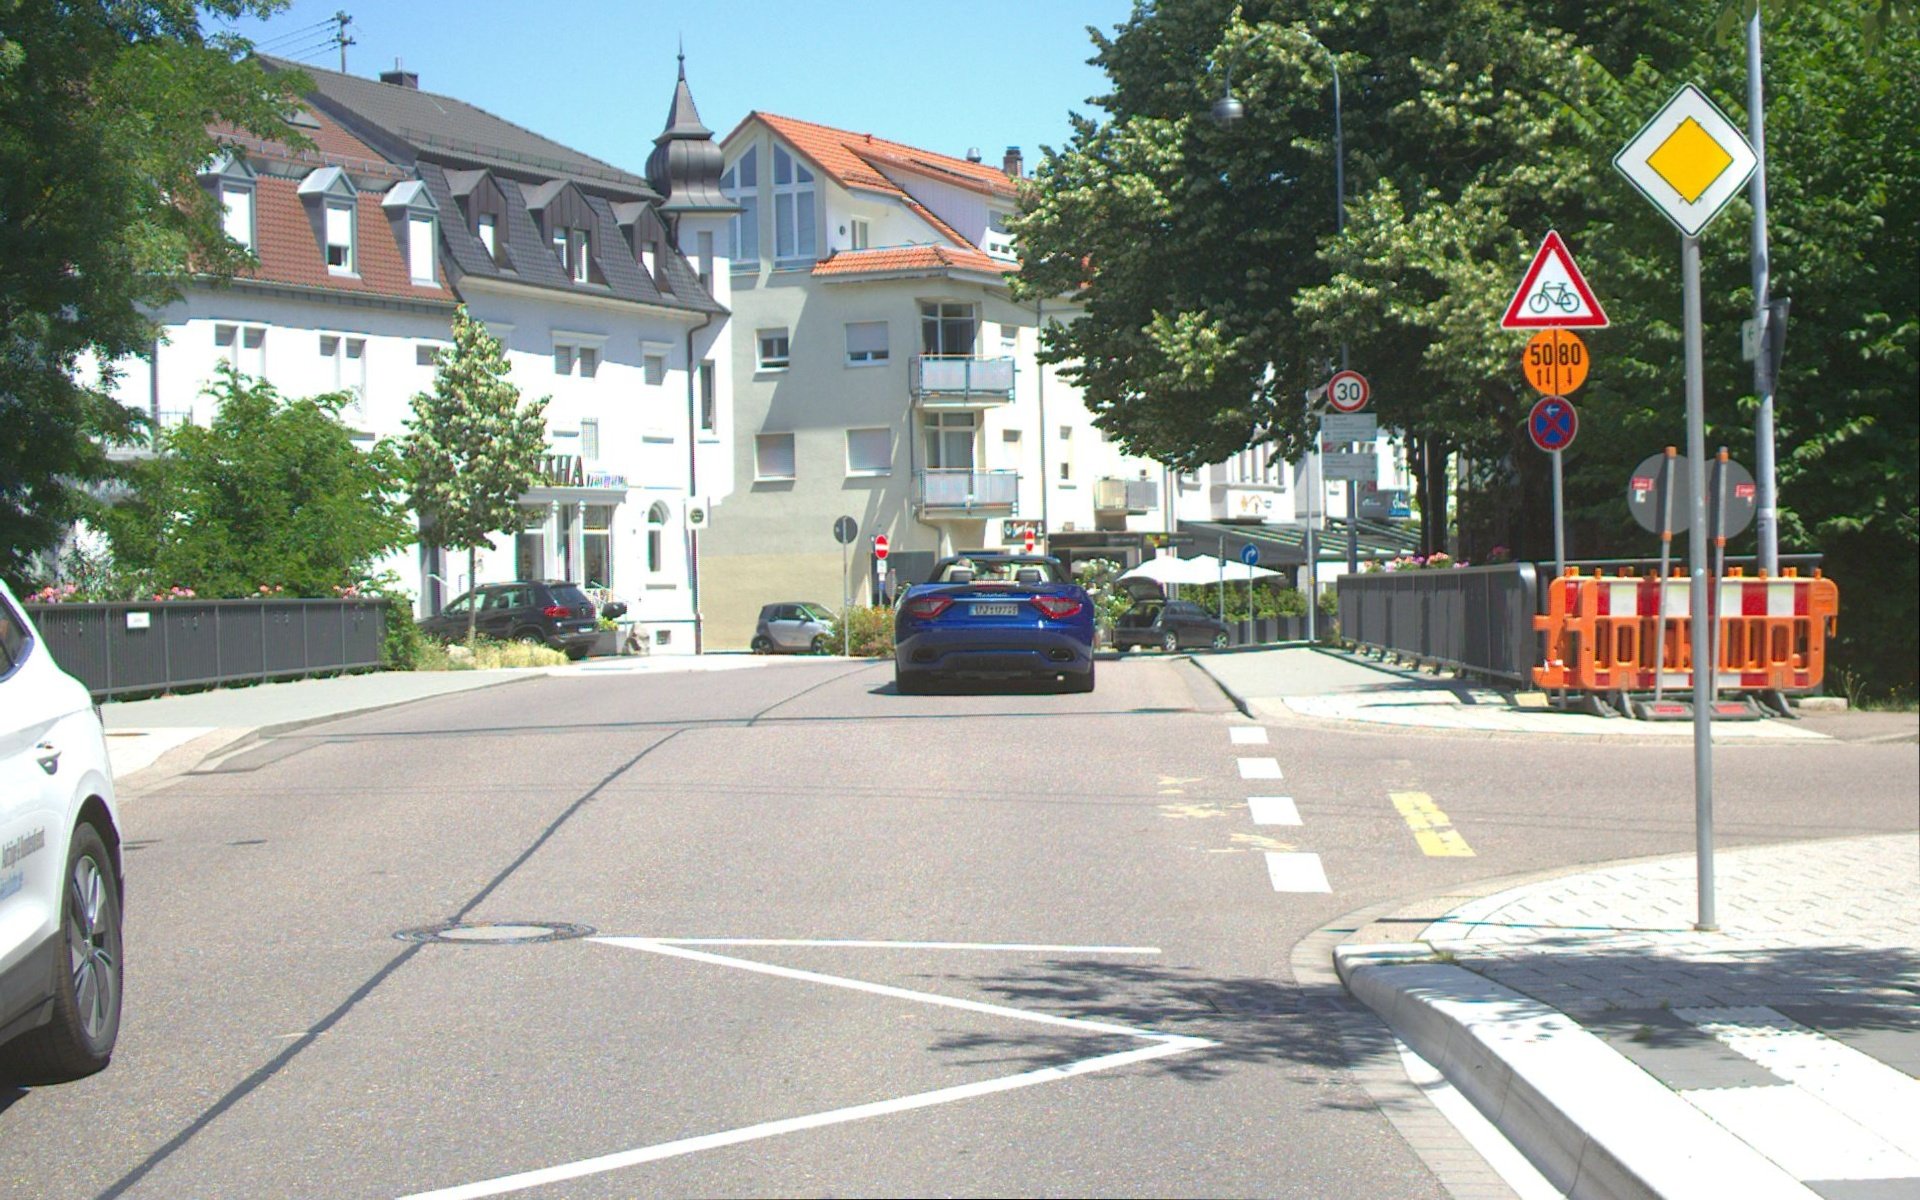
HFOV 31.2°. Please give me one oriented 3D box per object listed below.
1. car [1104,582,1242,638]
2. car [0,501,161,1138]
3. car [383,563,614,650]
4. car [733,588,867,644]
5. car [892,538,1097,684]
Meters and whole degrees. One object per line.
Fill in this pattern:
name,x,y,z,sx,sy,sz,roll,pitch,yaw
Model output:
car,5.834,0.280,93.786,1.716,1.455,4.120,1,0,37
car,-3.357,0.591,8.350,1.877,1.591,4.360,-3,1,-2
car,-9.335,0.142,69.581,4.185,1.656,1.968,-1,0,23
car,-4.439,0.451,95.508,3.266,1.453,1.690,-1,0,23
car,0.301,0.085,33.708,1.870,1.337,4.596,0,0,0
